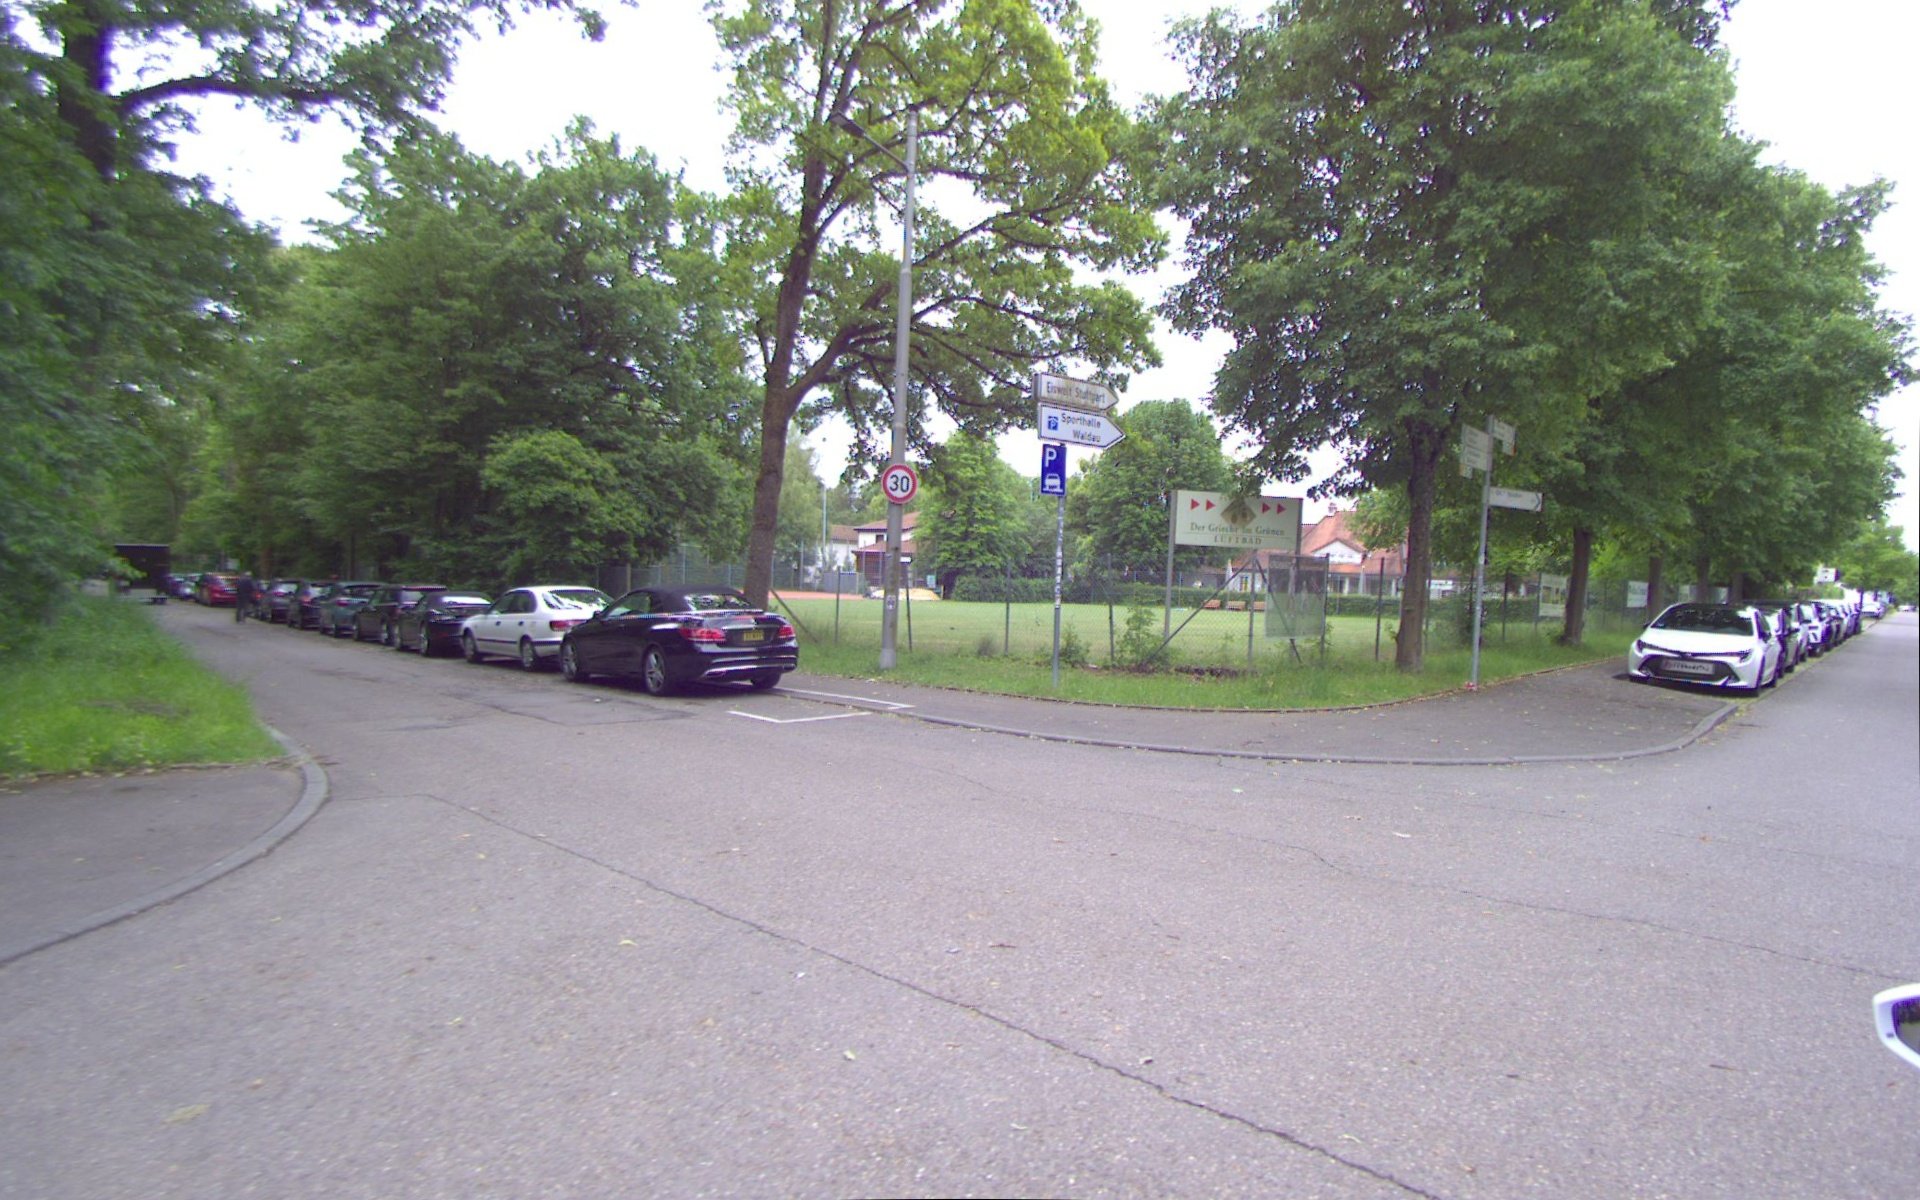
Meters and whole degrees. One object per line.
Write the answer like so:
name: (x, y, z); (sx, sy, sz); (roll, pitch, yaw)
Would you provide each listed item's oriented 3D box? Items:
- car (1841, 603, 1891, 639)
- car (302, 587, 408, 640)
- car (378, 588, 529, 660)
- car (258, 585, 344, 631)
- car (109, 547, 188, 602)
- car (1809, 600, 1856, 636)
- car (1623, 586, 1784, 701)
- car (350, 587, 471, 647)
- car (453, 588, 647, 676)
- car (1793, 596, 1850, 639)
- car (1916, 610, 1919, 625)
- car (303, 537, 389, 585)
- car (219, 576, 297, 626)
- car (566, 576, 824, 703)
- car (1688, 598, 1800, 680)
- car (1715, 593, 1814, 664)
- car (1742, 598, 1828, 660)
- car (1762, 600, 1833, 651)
car: (39.909, 0.912, 44.234); (1.454, 1.501, 3.169); (3, 1, 44)
car: (-16.849, 0.341, 27.940); (3.581, 1.377, 1.681); (0, 1, 44)
car: (-10.685, 0.448, 21.076); (3.815, 1.377, 1.681); (0, 1, 44)
car: (-20.873, 0.227, 31.786); (3.471, 1.377, 1.561); (0, 1, 44)
car: (-39.975, -1.282, 49.435); (2.564, 2.569, 4.870); (0, 2, -44)
car: (40.883, 0.830, 47.056); (1.575, 1.580, 3.177); (2, 1, 42)
car: (12.889, 0.677, 17.305); (1.745, 1.617, 4.193); (6, 4, 42)
car: (-13.684, 0.384, 24.950); (3.581, 1.377, 1.681); (0, 1, 44)
car: (-7.352, 0.492, 17.812); (4.162, 1.377, 1.681); (0, 1, 44)
car: (35.469, 0.713, 41.340); (1.576, 1.580, 3.176); (6, 4, 42)
car: (120.805, 2.251, 125.337); (4.034, 1.728, 1.881); (3, 0, -42)
car: (-23.408, -1.490, 38.235); (3.589, 1.640, 1.947); (3, 0, 44)
car: (-24.575, 0.002, 35.132); (3.471, 1.614, 1.611); (2, 2, 44)
car: (-3.861, 0.465, 14.167); (1.759, 1.514, 4.272); (-1, 1, -42)
car: (16.652, 0.775, 21.275); (1.528, 1.474, 3.646); (6, 4, 42)
car: (21.323, 0.709, 26.571); (1.673, 1.617, 3.977); (6, 4, 42)
car: (24.718, 0.834, 30.046); (1.673, 1.617, 3.977); (6, 4, 42)
car: (27.807, 0.830, 33.317); (1.576, 1.477, 3.176); (6, 4, 42)
